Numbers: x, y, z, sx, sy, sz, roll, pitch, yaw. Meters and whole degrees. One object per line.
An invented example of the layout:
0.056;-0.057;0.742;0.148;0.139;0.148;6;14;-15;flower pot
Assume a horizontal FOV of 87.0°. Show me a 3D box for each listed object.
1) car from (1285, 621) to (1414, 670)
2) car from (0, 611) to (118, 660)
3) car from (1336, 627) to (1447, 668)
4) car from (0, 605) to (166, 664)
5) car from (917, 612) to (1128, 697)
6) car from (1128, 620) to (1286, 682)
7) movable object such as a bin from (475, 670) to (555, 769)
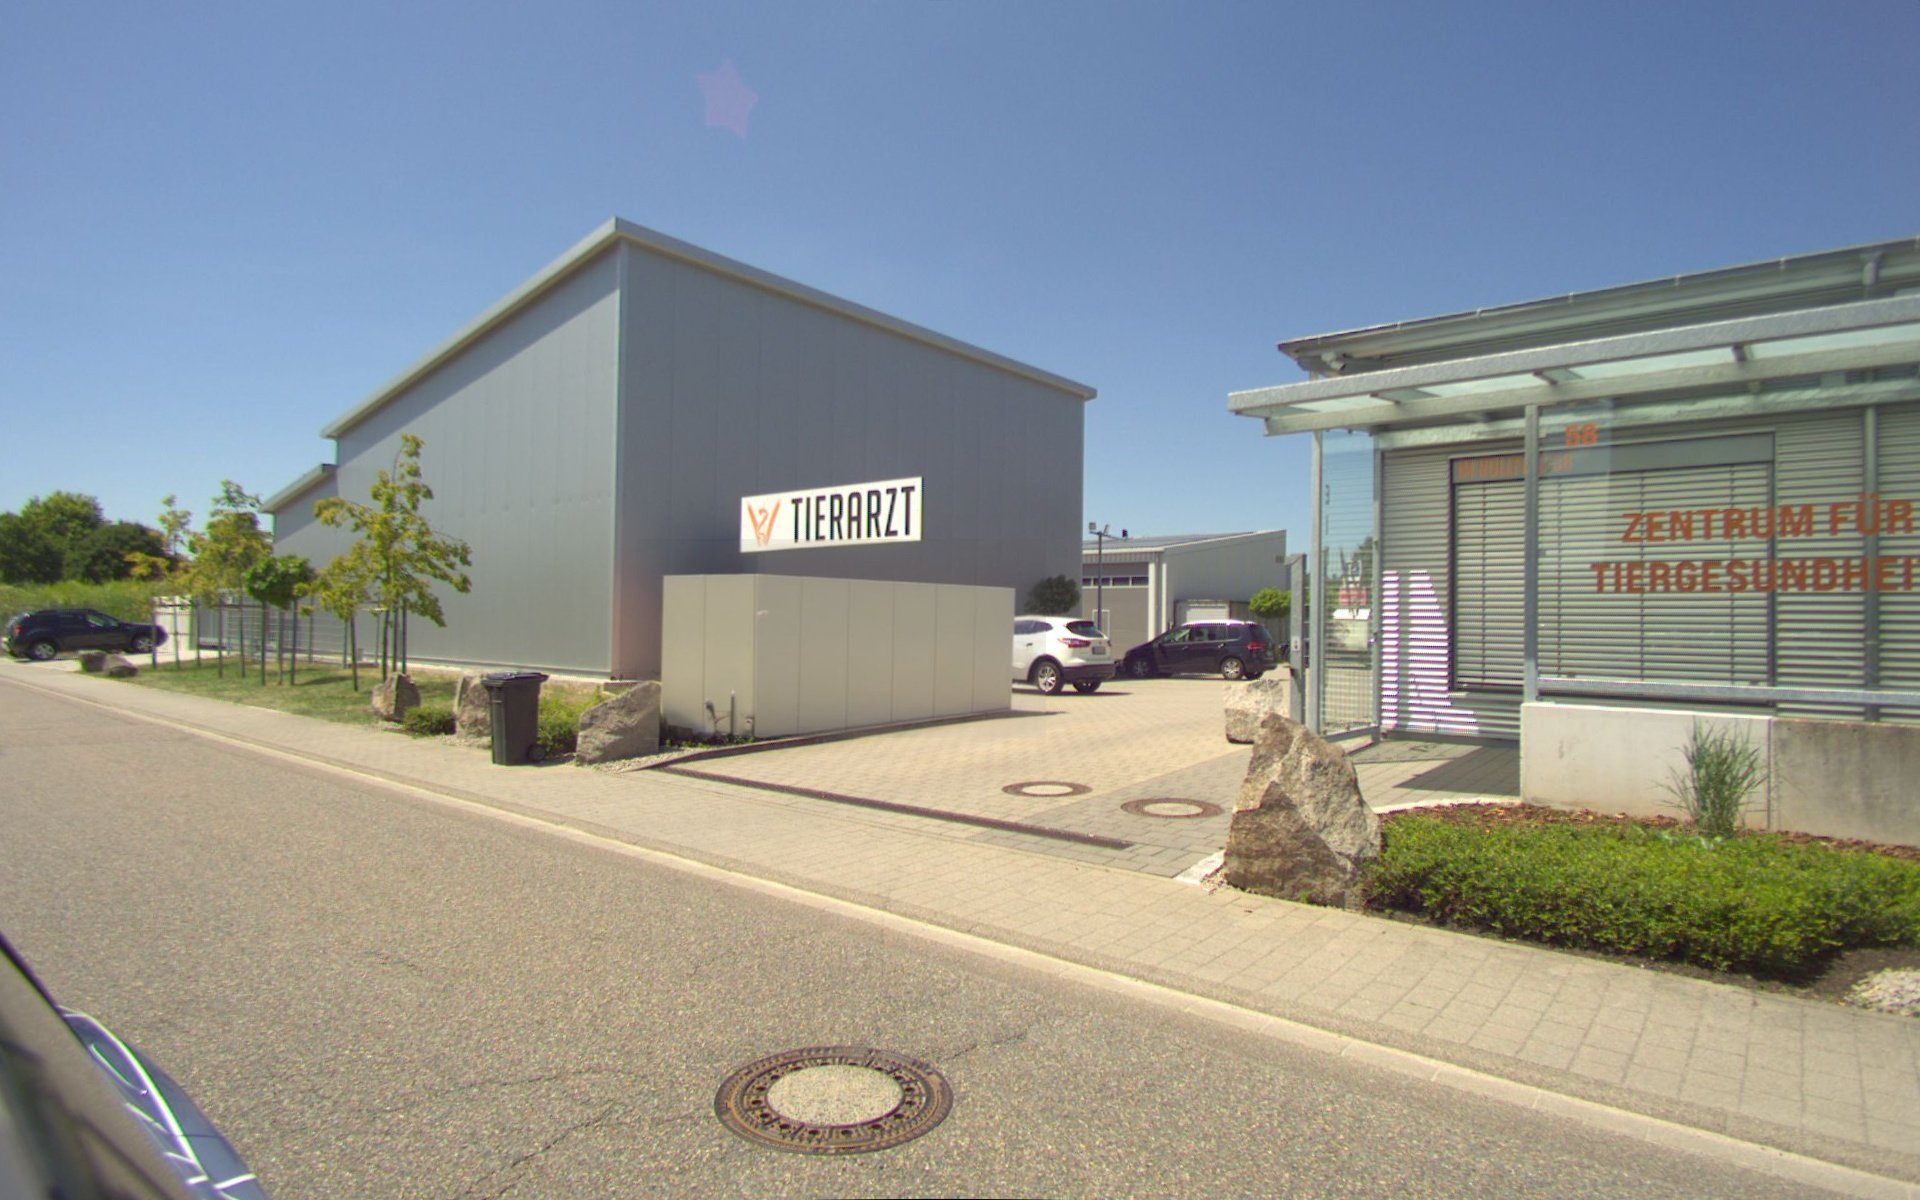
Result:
13.925;1.607;36.244;3.990;1.660;1.977;-1;-2;34;car
-32.680;1.233;36.412;1.779;1.472;3.330;0;3;37;car
18.240;1.960;42.819;3.990;1.660;1.977;-1;-2;34;car
-29.865;1.115;34.457;1.780;1.671;4.121;0;3;40;car
1.262;1.082;21.058;3.990;1.596;1.890;-1;-2;35;car
7.083;1.419;29.077;3.990;1.660;1.977;-1;-2;34;car
-4.614;1.220;10.495;0.511;0.957;0.566;-1;-2;35;movable object such as a bin
